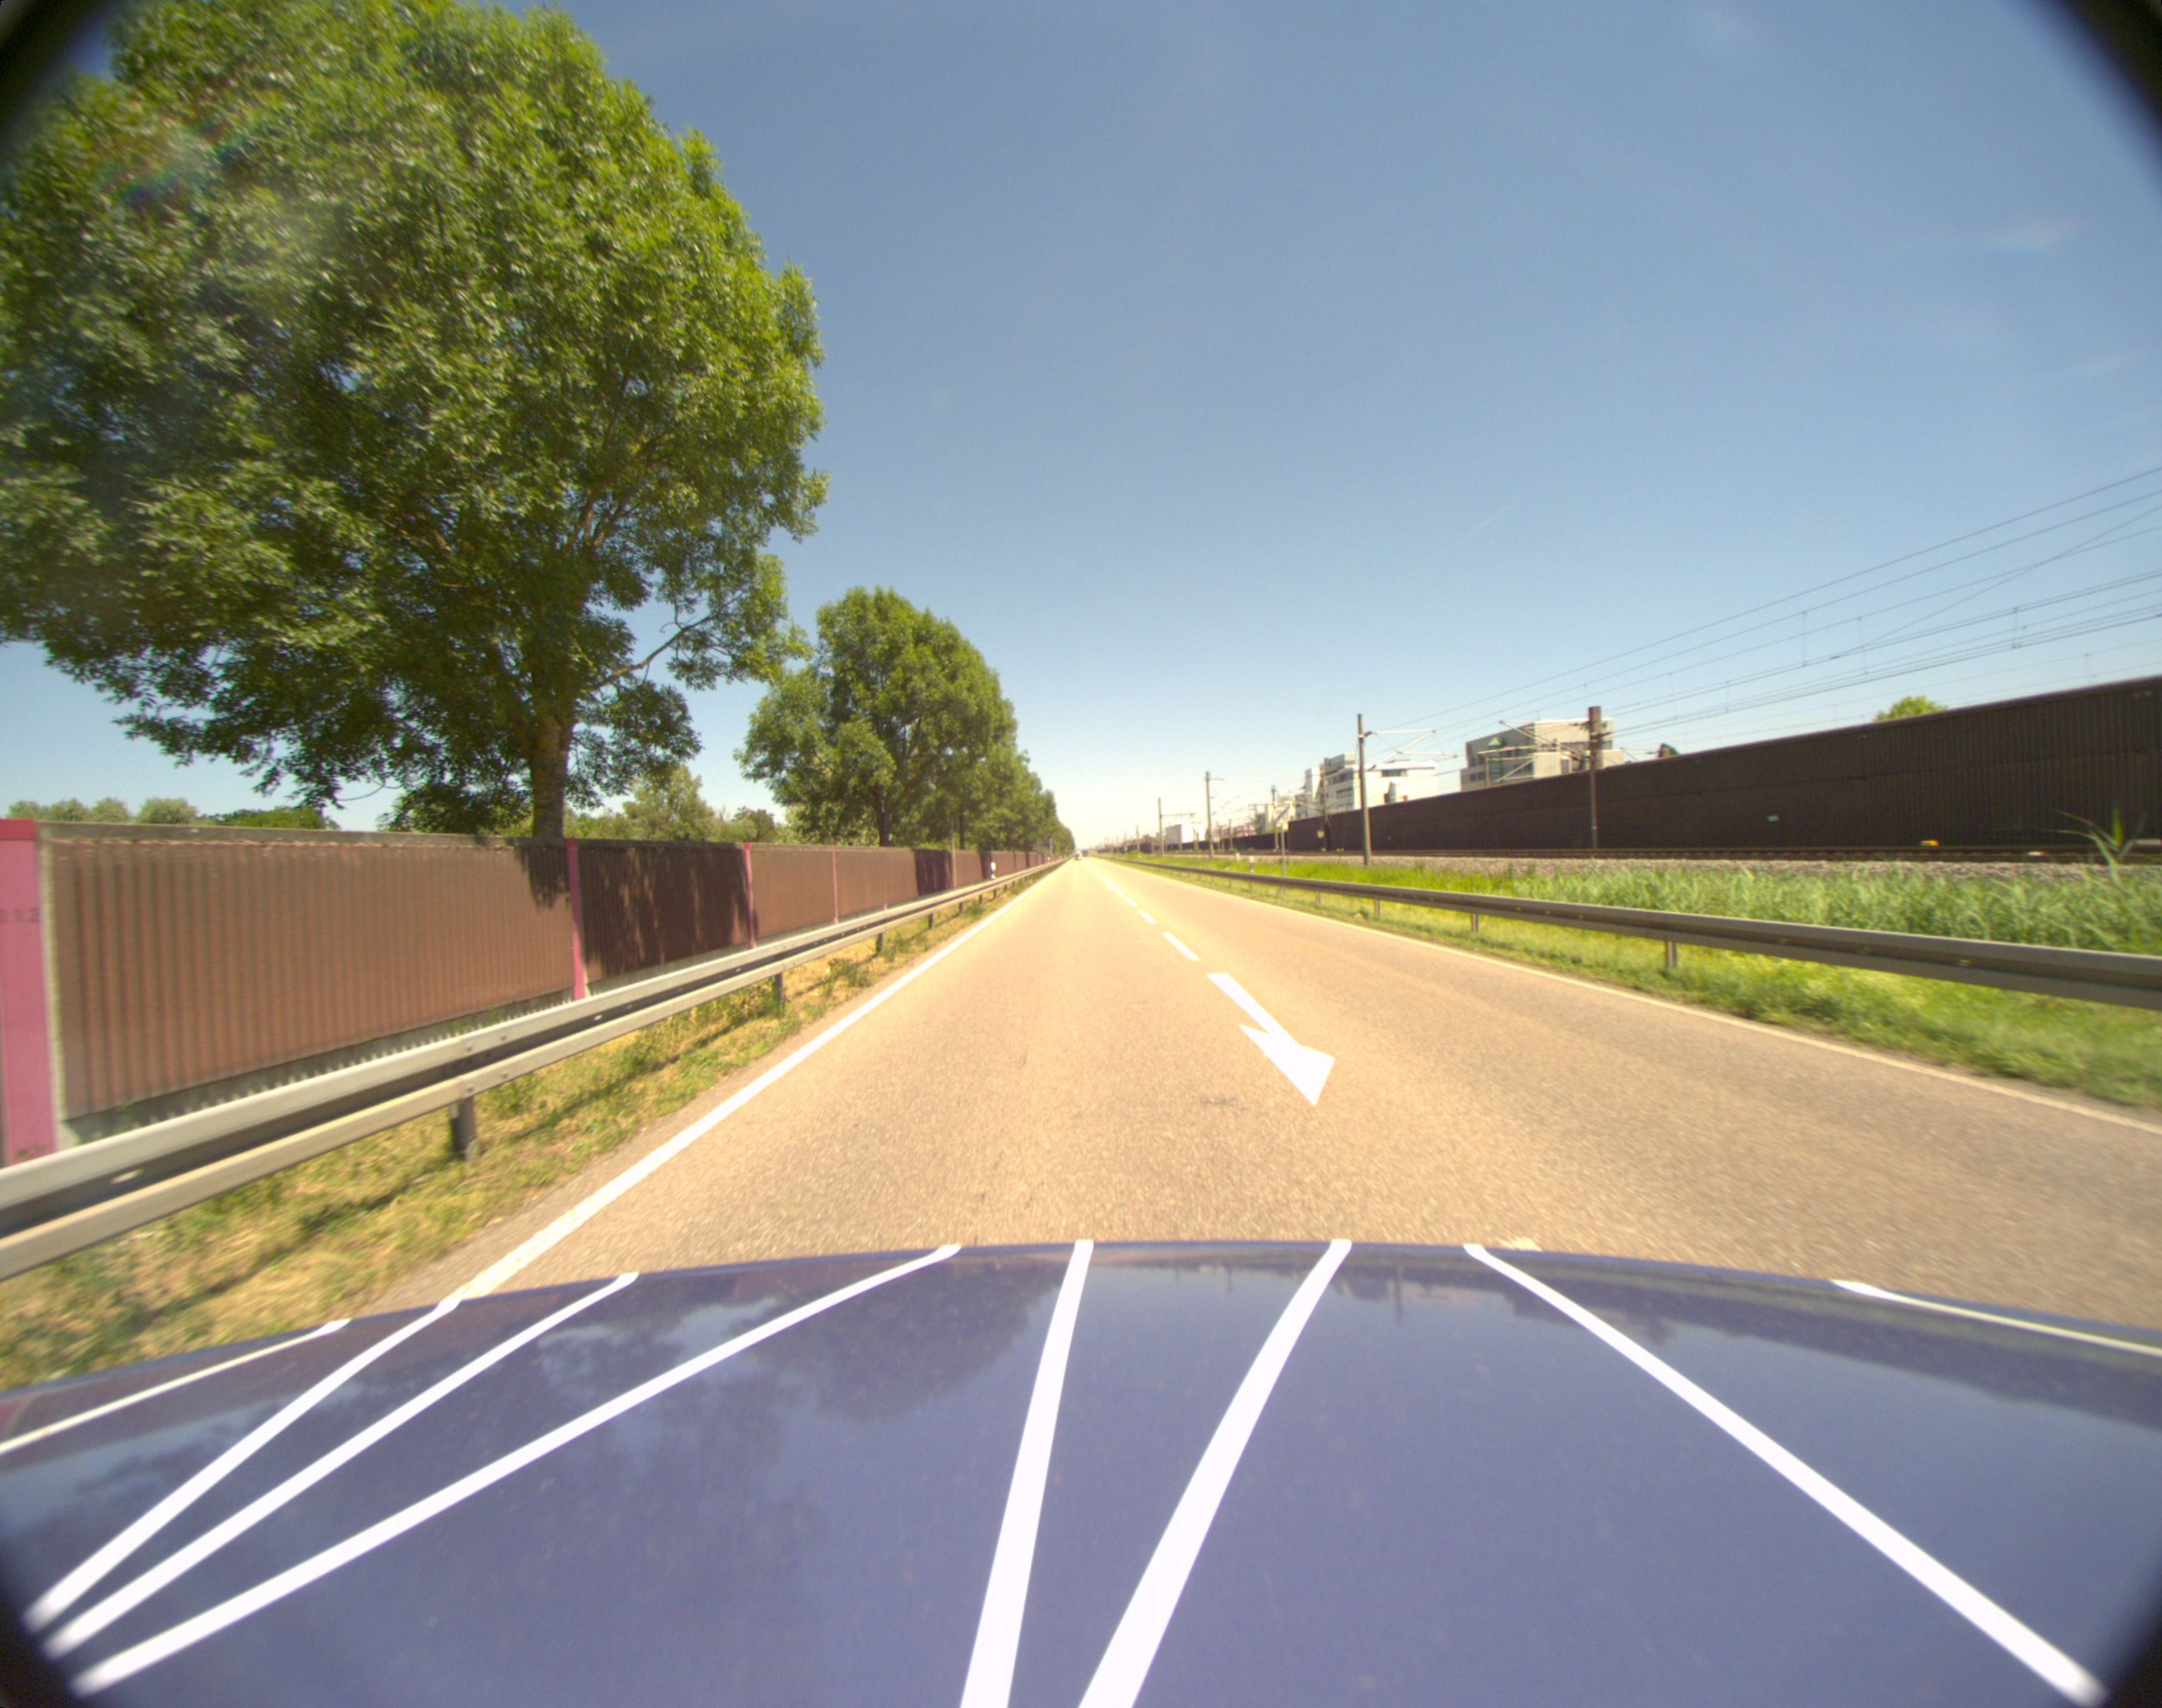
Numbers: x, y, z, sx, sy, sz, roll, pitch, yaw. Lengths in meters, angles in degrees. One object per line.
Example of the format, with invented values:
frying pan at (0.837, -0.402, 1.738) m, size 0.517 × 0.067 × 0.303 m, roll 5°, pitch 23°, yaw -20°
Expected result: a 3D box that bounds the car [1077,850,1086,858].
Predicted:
car at (0.240, 0.073, 193.703) m, size 1.998 × 2.002 × 4.000 m, roll -2°, pitch 1°, yaw 3°
